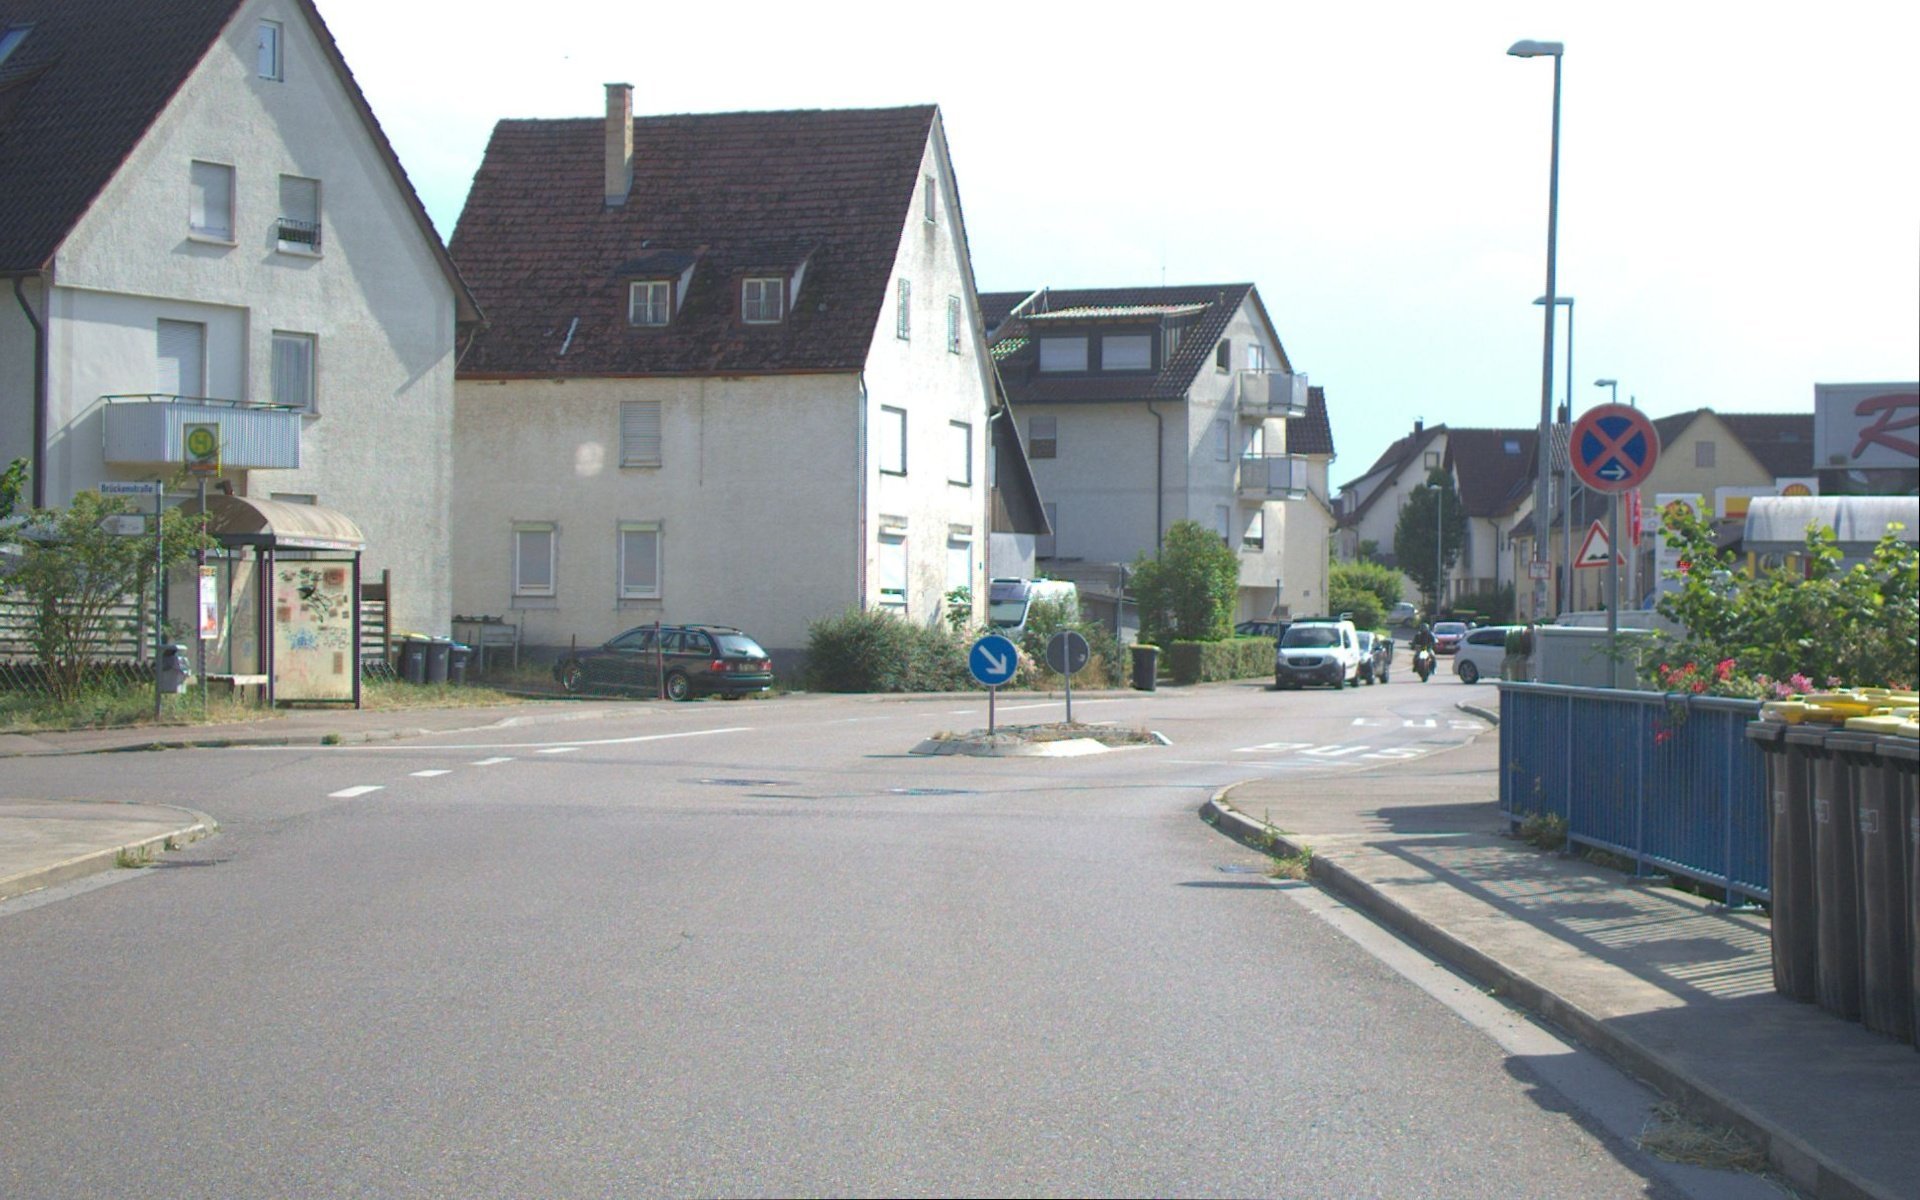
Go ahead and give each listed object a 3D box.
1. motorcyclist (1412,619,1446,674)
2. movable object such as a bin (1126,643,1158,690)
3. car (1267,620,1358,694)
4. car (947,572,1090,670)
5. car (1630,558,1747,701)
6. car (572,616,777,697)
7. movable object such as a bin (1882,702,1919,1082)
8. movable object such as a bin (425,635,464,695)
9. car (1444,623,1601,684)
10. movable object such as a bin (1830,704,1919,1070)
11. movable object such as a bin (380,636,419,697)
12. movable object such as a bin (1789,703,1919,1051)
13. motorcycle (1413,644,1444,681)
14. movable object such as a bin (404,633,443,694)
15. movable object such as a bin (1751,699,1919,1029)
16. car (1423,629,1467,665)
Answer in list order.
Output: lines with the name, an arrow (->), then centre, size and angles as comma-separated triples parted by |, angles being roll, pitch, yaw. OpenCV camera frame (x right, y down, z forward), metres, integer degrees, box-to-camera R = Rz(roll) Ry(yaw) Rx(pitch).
motorcyclist -> 13.402, 1.344, 98.257 | 0.737, 1.522, 1.016 | 3, -1, 16
movable object such as a bin -> 4.276, 1.559, 80.676 | 0.611, 1.097, 0.575 | 2, -1, 15
car -> 9.275, 1.482, 90.164 | 1.717, 1.866, 4.189 | -1, 0, 15
car -> 1.675, 0.572, 95.239 | 2.160, 2.587, 6.088 | 1, 0, 19
car -> 12.608, 0.514, 59.725 | 1.837, 2.367, 5.176 | 0, 0, 10
car -> -5.596, 1.096, 67.147 | 3.997, 1.428, 1.649 | 2, 1, 42
movable object such as a bin -> 3.140, 0.889, 10.536 | 0.478, 1.139, 0.538 | 0, 0, -1
movable object such as a bin -> -8.869, 1.120, 59.189 | 0.362, 1.019, 0.576 | 0, -2, 31
car -> 15.436, 1.452, 94.529 | 1.994, 1.603, 3.999 | 1, 0, -36
movable object such as a bin -> 3.126, 0.913, 11.117 | 0.478, 1.139, 0.538 | 0, 0, -1
movable object such as a bin -> -9.483, 1.128, 58.200 | 0.362, 1.012, 0.557 | 0, -2, 31
movable object such as a bin -> 3.127, 0.929, 11.688 | 0.478, 1.139, 0.538 | 0, 0, -1
motorcycle -> 13.412, 1.796, 98.355 | 0.538, 1.009, 2.026 | 3, 0, 16
movable object such as a bin -> -9.155, 1.084, 58.699 | 0.362, 1.038, 0.557 | 0, -2, 31
movable object such as a bin -> 3.134, 0.932, 12.290 | 0.478, 1.139, 0.538 | 0, 0, -1
car -> 19.667, 1.894, 139.434 | 1.709, 1.430, 3.779 | 0, 0, 7
